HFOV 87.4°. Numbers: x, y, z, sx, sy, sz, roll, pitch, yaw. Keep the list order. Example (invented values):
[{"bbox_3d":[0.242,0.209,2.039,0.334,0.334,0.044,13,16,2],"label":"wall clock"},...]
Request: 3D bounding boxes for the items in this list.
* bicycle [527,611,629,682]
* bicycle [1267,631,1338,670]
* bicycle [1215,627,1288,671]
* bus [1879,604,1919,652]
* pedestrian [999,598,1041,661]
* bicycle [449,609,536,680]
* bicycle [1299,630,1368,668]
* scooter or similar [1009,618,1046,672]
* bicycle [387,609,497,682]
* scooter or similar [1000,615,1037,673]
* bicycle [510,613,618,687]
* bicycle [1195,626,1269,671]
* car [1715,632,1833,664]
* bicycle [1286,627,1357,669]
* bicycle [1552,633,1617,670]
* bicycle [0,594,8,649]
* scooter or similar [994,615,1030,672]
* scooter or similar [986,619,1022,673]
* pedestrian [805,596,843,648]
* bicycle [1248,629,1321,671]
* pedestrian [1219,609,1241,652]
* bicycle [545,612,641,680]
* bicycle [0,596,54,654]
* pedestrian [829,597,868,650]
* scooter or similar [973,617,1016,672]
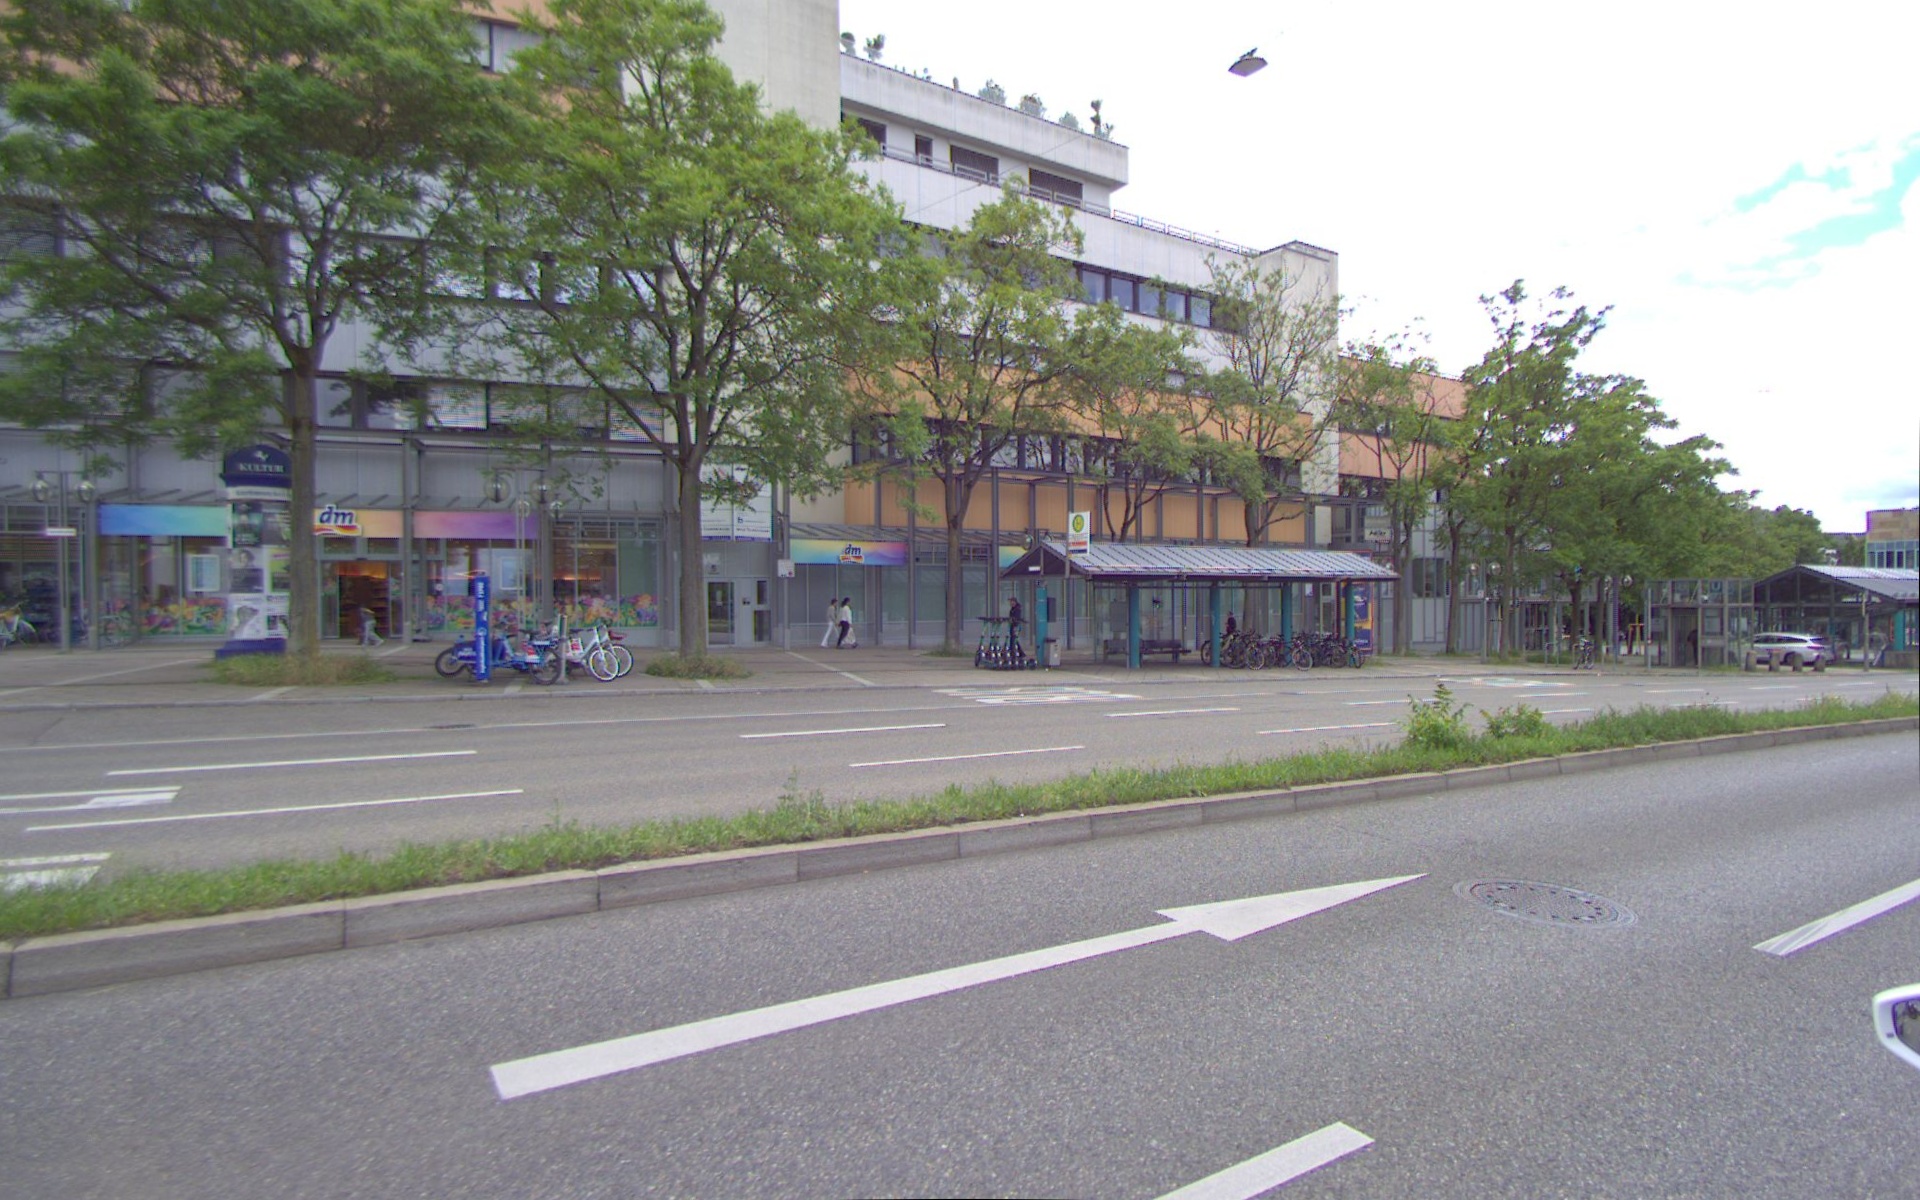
[{"bbox_3d":[-7.110,0.857,18.716,1.649,1.270,0.627,1,-1,5],"label":"bicycle"},{"bbox_3d":[10.922,1.582,32.068,0.707,1.169,2.046,2,-1,-42],"label":"bicycle"},{"bbox_3d":[8.928,1.483,30.797,0.707,1.169,2.045,2,1,-42],"label":"bicycle"},{"bbox_3d":[69.456,2.081,70.268,11.987,3.175,2.950,2,0,-23],"label":"bus"},{"bbox_3d":[1.750,0.860,29.470,0.986,1.805,0.729,1,-1,-32],"label":"pedestrian"},{"bbox_3d":[-8.667,0.810,18.628,1.441,1.270,0.432,1,-1,8],"label":"bicycle"},{"bbox_3d":[12.405,1.605,33.444,0.707,1.169,2.045,2,0,-42],"label":"bicycle"},{"bbox_3d":[1.735,1.145,25.880,0.257,1.338,1.194,1,-1,-34],"label":"scooter or similar"},{"bbox_3d":[-9.270,0.800,17.992,1.649,1.270,0.627,1,-1,6],"label":"bicycle"},{"bbox_3d":[1.492,1.112,25.712,0.257,1.442,1.194,1,-1,-34],"label":"scooter or similar"},{"bbox_3d":[-6.988,0.871,17.770,1.649,1.270,0.627,1,-1,5],"label":"bicycle"},{"bbox_3d":[8.099,1.429,29.998,0.706,1.169,2.045,1,2,-42],"label":"bicycle"},{"bbox_3d":[37.709,2.194,46.590,1.983,1.372,3.955,2,-1,-39],"label":"car"},{"bbox_3d":[11.736,1.534,32.651,0.707,1.169,2.045,2,2,-42],"label":"bicycle"},{"bbox_3d":[22.987,1.878,36.990,2.398,1.288,1.046,1,1,-32],"label":"bicycle"},{"bbox_3d":[-23.561,0.504,23.637,0.693,1.337,1.970,1,-1,-11],"label":"bicycle"},{"bbox_3d":[1.304,1.094,25.514,0.220,1.403,1.194,1,-1,-34],"label":"scooter or similar"},{"bbox_3d":[1.105,1.148,25.321,0.265,1.312,1.120,1,-1,-35],"label":"scooter or similar"},{"bbox_3d":[-4.326,0.695,31.937,0.986,1.639,0.729,1,-1,-32],"label":"pedestrian"},{"bbox_3d":[9.994,1.509,30.973,0.707,1.169,2.045,2,0,-42],"label":"bicycle"},{"bbox_3d":[10.510,1.176,39.109,0.666,1.665,0.530,1,-1,-27],"label":"pedestrian"},{"bbox_3d":[-7.192,0.895,19.720,1.649,1.270,0.627,1,-1,5],"label":"bicycle"},{"bbox_3d":[-22.606,0.577,23.829,0.693,1.337,1.970,1,-1,-11],"label":"bicycle"},{"bbox_3d":[-3.495,0.732,31.446,0.986,1.639,0.729,1,-1,-32],"label":"pedestrian"},{"bbox_3d":[0.844,1.098,25.071,0.336,1.286,1.313,1,1,-34],"label":"scooter or similar"}]
